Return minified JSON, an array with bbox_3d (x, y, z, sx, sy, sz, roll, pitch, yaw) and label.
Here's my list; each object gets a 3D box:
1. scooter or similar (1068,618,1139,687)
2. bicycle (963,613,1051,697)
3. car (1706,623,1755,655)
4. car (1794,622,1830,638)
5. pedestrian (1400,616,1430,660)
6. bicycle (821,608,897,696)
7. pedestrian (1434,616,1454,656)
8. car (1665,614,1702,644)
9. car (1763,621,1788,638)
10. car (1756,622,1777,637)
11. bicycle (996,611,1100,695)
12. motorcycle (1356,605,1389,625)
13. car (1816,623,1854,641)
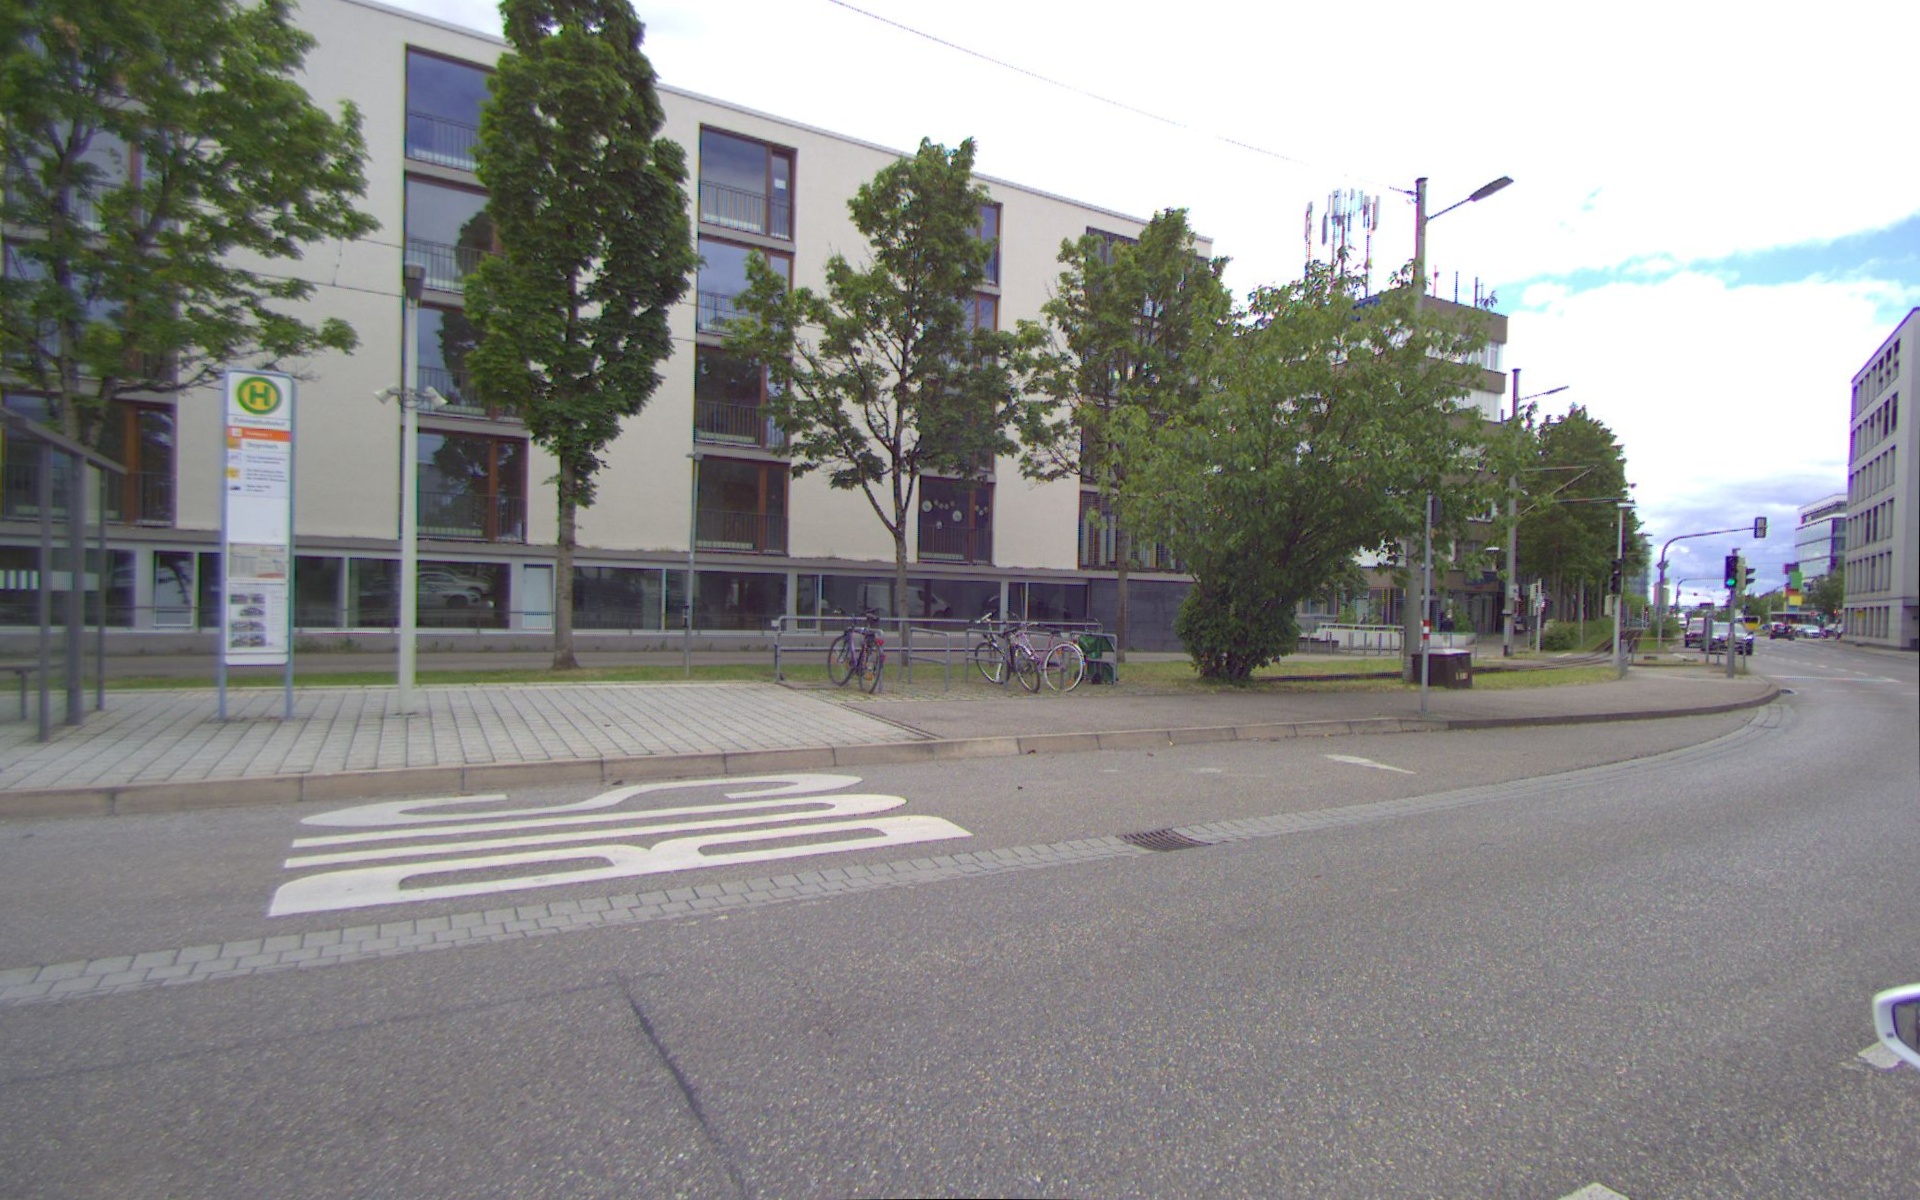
[{"bbox_3d":[2.273,0.815,15.892,0.767,1.023,0.781,1,0,-38],"label":"scooter or similar"},{"bbox_3d":[0.644,0.757,14.421,0.403,1.060,1.741,1,2,-28],"label":"bicycle"},{"bbox_3d":[38.124,1.893,49.771,1.745,1.498,3.987,-1,-2,35],"label":"car"},{"bbox_3d":[96.664,3.381,114.054,1.961,1.726,3.998,1,0,23],"label":"car"},{"bbox_3d":[16.250,1.345,35.868,0.836,1.547,0.993,0,-1,33],"label":"pedestrian"},{"bbox_3d":[-1.393,0.676,13.608,0.391,1.039,1.680,1,2,-28],"label":"bicycle"},{"bbox_3d":[21.677,1.607,44.993,0.679,1.728,0.680,0,-1,37],"label":"pedestrian"},{"bbox_3d":[45.804,1.849,63.656,1.658,1.832,4.340,-1,-2,33],"label":"car"},{"bbox_3d":[81.281,2.938,100.143,1.737,1.630,4.171,2,0,38],"label":"car"},{"bbox_3d":[91.998,3.325,114.579,1.737,1.630,4.171,2,0,38],"label":"car"},{"bbox_3d":[1.280,0.757,14.897,0.405,1.103,1.689,1,2,-42],"label":"bicycle"},{"bbox_3d":[26.061,0.923,63.530,0.563,1.215,1.864,1,0,-39],"label":"motorcycle"},{"bbox_3d":[98.465,3.629,113.085,1.961,1.877,3.998,2,0,23],"label":"car"}]
